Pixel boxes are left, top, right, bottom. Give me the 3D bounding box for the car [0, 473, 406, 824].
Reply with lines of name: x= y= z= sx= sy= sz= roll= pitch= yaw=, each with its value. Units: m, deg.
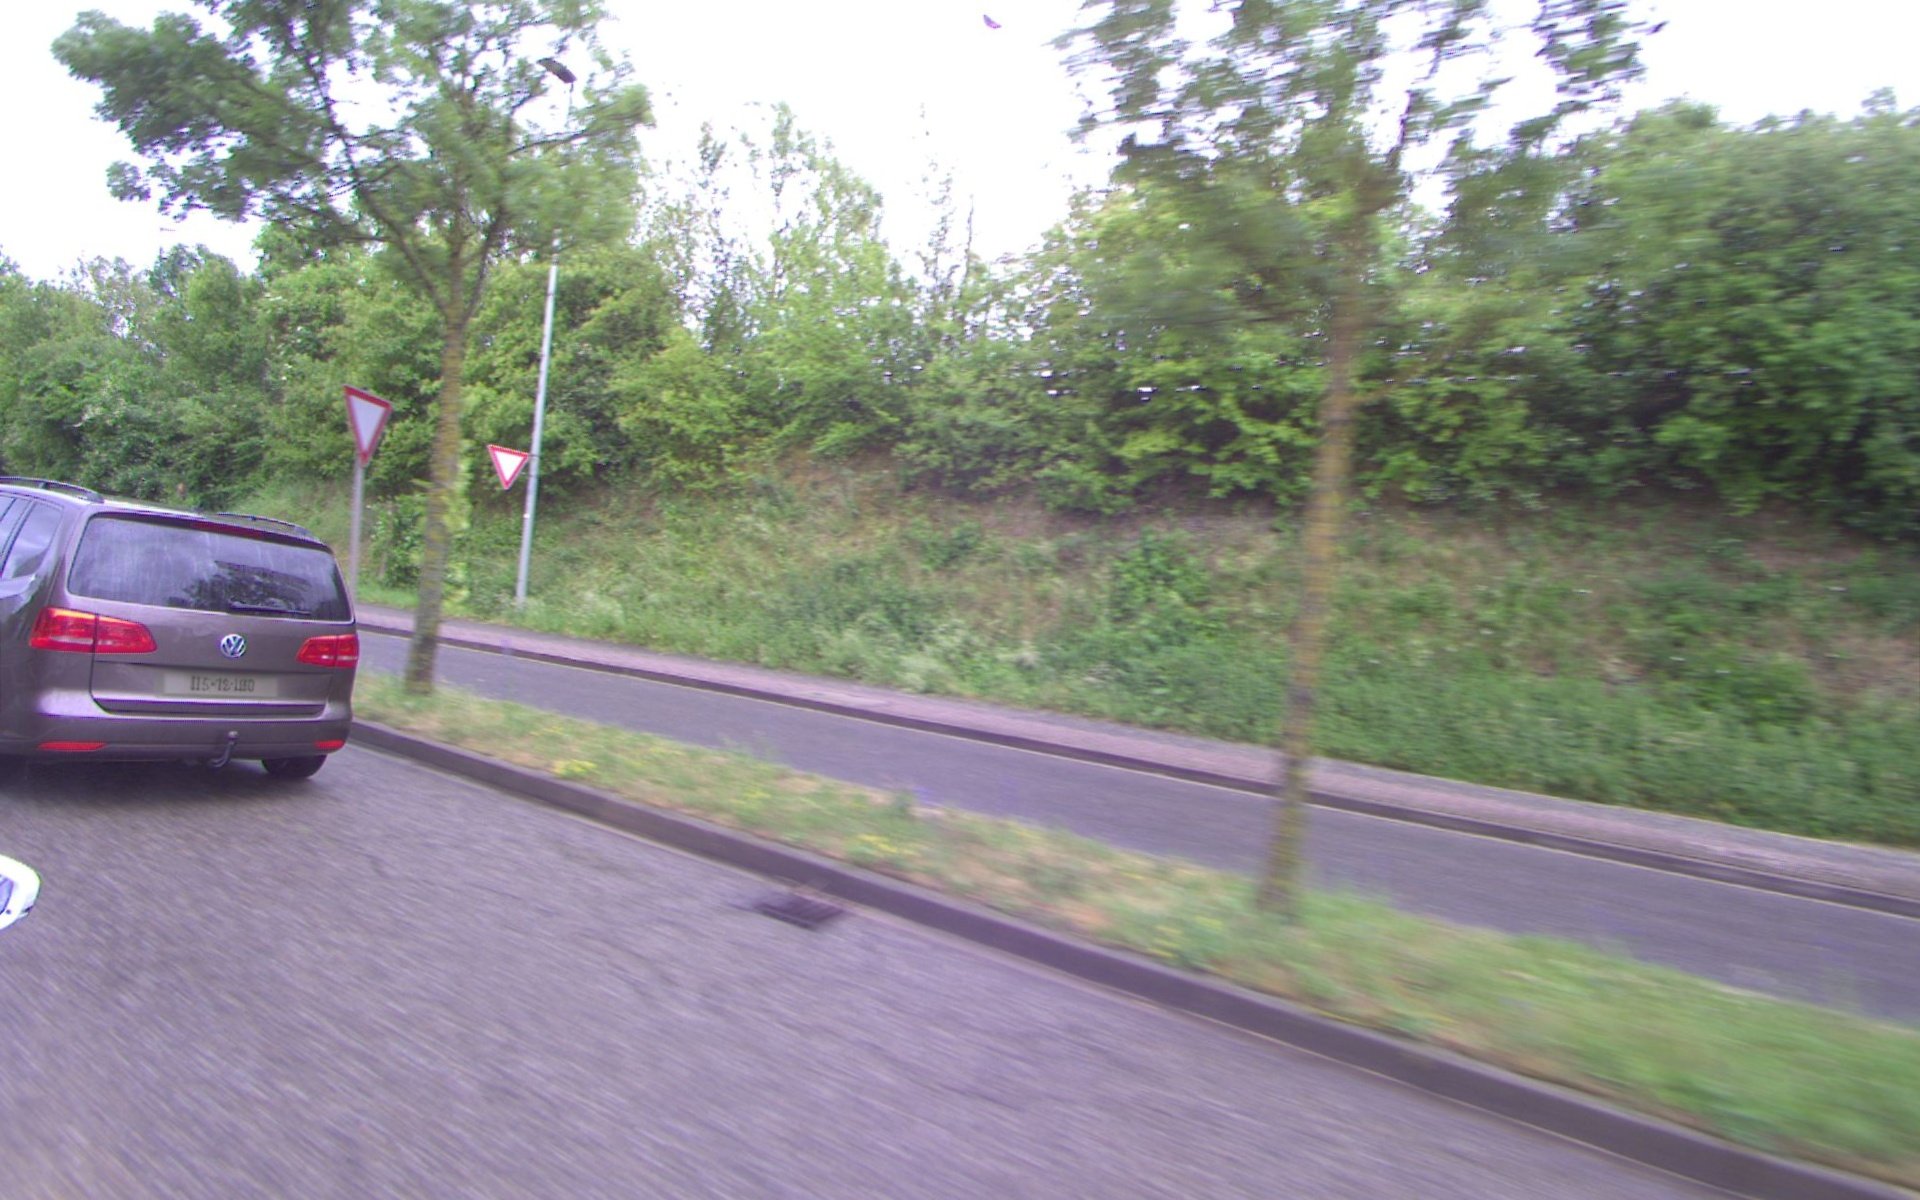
car: x=-5.638 y=0.123 z=6.440 sx=4.061 sy=1.615 sz=1.717 roll=6 pitch=-2 yaw=31
